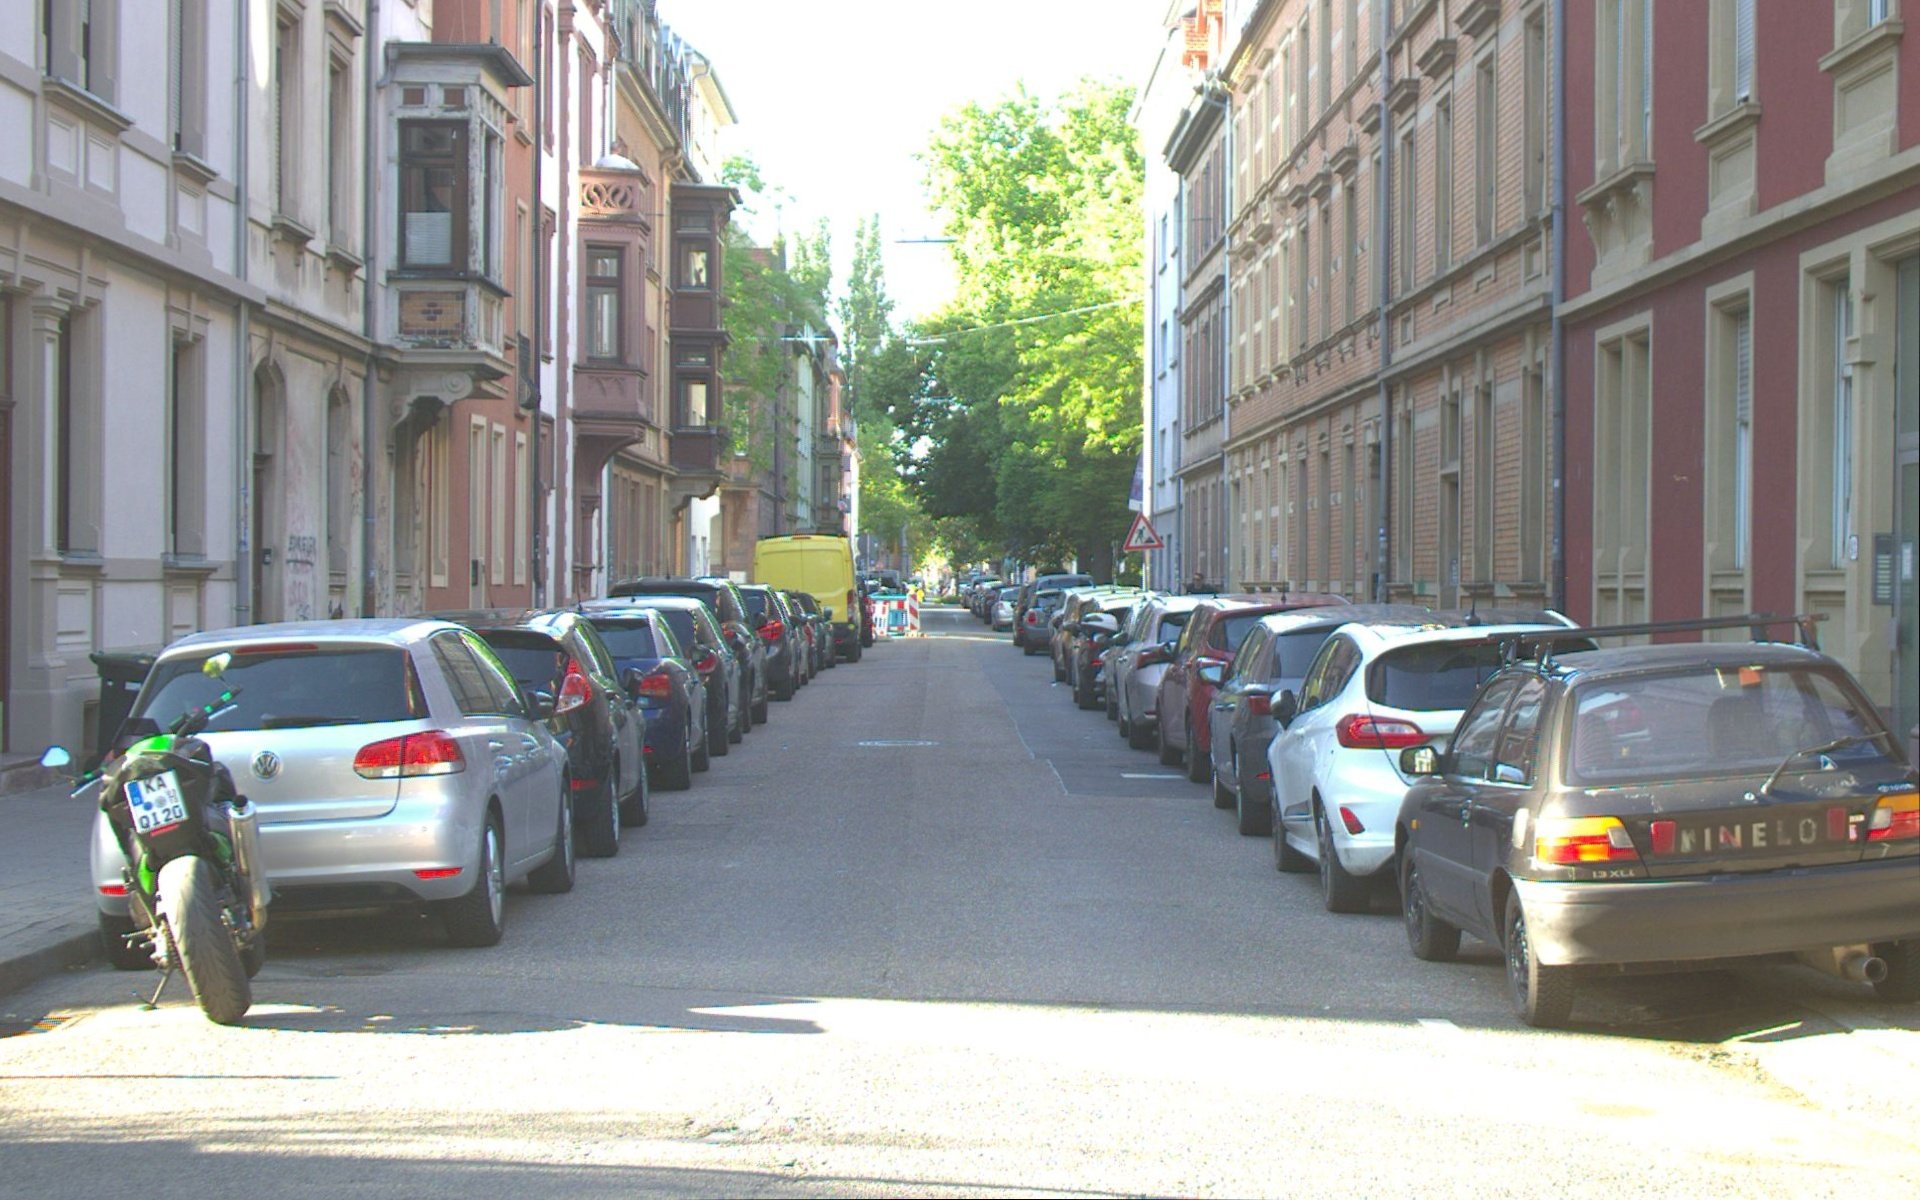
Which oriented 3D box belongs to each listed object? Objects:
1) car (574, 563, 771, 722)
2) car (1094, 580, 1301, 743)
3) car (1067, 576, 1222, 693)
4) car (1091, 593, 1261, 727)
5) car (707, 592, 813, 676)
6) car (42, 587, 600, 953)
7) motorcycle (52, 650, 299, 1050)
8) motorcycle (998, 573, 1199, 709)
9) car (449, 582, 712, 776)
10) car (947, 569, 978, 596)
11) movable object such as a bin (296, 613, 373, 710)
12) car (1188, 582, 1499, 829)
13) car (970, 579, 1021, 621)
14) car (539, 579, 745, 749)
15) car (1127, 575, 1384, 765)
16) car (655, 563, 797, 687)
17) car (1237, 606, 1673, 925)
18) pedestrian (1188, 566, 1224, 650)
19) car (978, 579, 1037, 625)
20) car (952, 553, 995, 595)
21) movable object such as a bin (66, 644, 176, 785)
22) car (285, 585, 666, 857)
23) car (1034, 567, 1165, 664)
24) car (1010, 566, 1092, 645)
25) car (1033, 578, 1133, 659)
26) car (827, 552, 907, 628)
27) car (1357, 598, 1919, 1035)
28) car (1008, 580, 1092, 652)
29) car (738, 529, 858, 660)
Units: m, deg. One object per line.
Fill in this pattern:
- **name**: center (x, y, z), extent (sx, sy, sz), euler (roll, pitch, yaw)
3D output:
- **car**: center (-3.086, 0.424, 37.632), extent (1.761, 1.612, 4.189), euler (1, 0, 0)
- **car**: center (2.304, 0.561, 34.343), extent (1.762, 1.479, 4.401), euler (1, 1, 0)
- **car**: center (2.360, 0.416, 44.952), extent (1.777, 1.392, 4.317), euler (1, 1, 0)
- **car**: center (2.425, 0.648, 39.409), extent (1.692, 1.401, 3.992), euler (1, 1, 0)
- **car**: center (-3.345, 0.552, 58.064), extent (1.618, 1.322, 3.612), euler (-2, 0, -1)
- **car**: center (-2.880, 0.702, 16.336), extent (1.781, 1.478, 3.932), euler (1, 0, 2)
- **motorcycle**: center (-2.936, 0.887, 13.033), extent (0.676, 1.329, 2.001), euler (-2, 1, -7)
- **motorcycle**: center (1.694, 0.498, 41.934), extent (2.218, 1.531, 0.890), euler (3, 0, -26)
- **car**: center (-2.961, 0.582, 27.497), extent (1.781, 1.398, 3.743), euler (1, 0, -2)
- **car**: center (0.152, -1.171, 226.261), extent (1.993, 1.722, 4.000), euler (1, 0, -1)
- **movable object such as a bin**: center (-6.122, 0.598, 33.681), extent (0.612, 0.917, 0.734), euler (1, 0, -1)
- **car**: center (2.563, 0.659, 23.795), extent (1.676, 1.498, 4.069), euler (1, 1, 0)
- **car**: center (1.419, -0.007, 138.287), extent (1.894, 1.620, 4.000), euler (1, 0, -1)
- **car**: center (-2.946, 0.561, 32.448), extent (1.643, 1.451, 3.839), euler (-1, 1, -1)
- **car**: center (2.456, 0.547, 29.430), extent (1.658, 1.474, 4.025), euler (1, 1, -3)
- **car**: center (-3.196, 0.313, 47.530), extent (1.781, 1.600, 4.070), euler (1, 0, -2)
- **car**: center (2.532, 0.796, 18.458), extent (1.705, 1.457, 3.970), euler (1, 0, -1)
- **pedestrian**: center (4.787, 0.159, 66.972), extent (0.653, 1.625, 0.880), euler (-1, 0, 3)
- **car**: center (1.603, 0.058, 117.003), extent (1.723, 1.517, 4.000), euler (1, 0, -3)
- **car**: center (0.718, -1.409, 188.359), extent (2.160, 2.248, 4.526), euler (1, 0, -1)
- **movable object such as a bin**: center (-5.925, 0.806, 24.298), extent (0.621, 0.952, 0.511), euler (2, 0, -1)
- **car**: center (-2.881, 0.669, 21.181), extent (1.781, 1.478, 3.742), euler (1, 0, 0)
- **car**: center (2.230, 0.231, 55.961), extent (1.753, 1.441, 4.069), euler (-2, 0, -2)
- **car**: center (2.162, 0.097, 82.899), extent (1.753, 1.780, 4.724), euler (-2, 1, -1)
- **car**: center (2.529, 0.354, 71.574), extent (1.753, 1.513, 4.443), euler (-3, 1, -1)
- **car**: center (-2.300, -0.251, 84.196), extent (1.818, 1.760, 4.336), euler (1, 0, -3)
- **car**: center (2.717, 0.763, 13.938), extent (1.668, 1.478, 3.706), euler (1, 0, -1)
- **car**: center (2.011, 0.342, 77.463), extent (1.754, 1.448, 4.287), euler (-3, 1, 1)
- **car**: center (-3.229, -0.129, 69.460), extent (2.175, 2.499, 5.878), euler (-1, 0, -1)
